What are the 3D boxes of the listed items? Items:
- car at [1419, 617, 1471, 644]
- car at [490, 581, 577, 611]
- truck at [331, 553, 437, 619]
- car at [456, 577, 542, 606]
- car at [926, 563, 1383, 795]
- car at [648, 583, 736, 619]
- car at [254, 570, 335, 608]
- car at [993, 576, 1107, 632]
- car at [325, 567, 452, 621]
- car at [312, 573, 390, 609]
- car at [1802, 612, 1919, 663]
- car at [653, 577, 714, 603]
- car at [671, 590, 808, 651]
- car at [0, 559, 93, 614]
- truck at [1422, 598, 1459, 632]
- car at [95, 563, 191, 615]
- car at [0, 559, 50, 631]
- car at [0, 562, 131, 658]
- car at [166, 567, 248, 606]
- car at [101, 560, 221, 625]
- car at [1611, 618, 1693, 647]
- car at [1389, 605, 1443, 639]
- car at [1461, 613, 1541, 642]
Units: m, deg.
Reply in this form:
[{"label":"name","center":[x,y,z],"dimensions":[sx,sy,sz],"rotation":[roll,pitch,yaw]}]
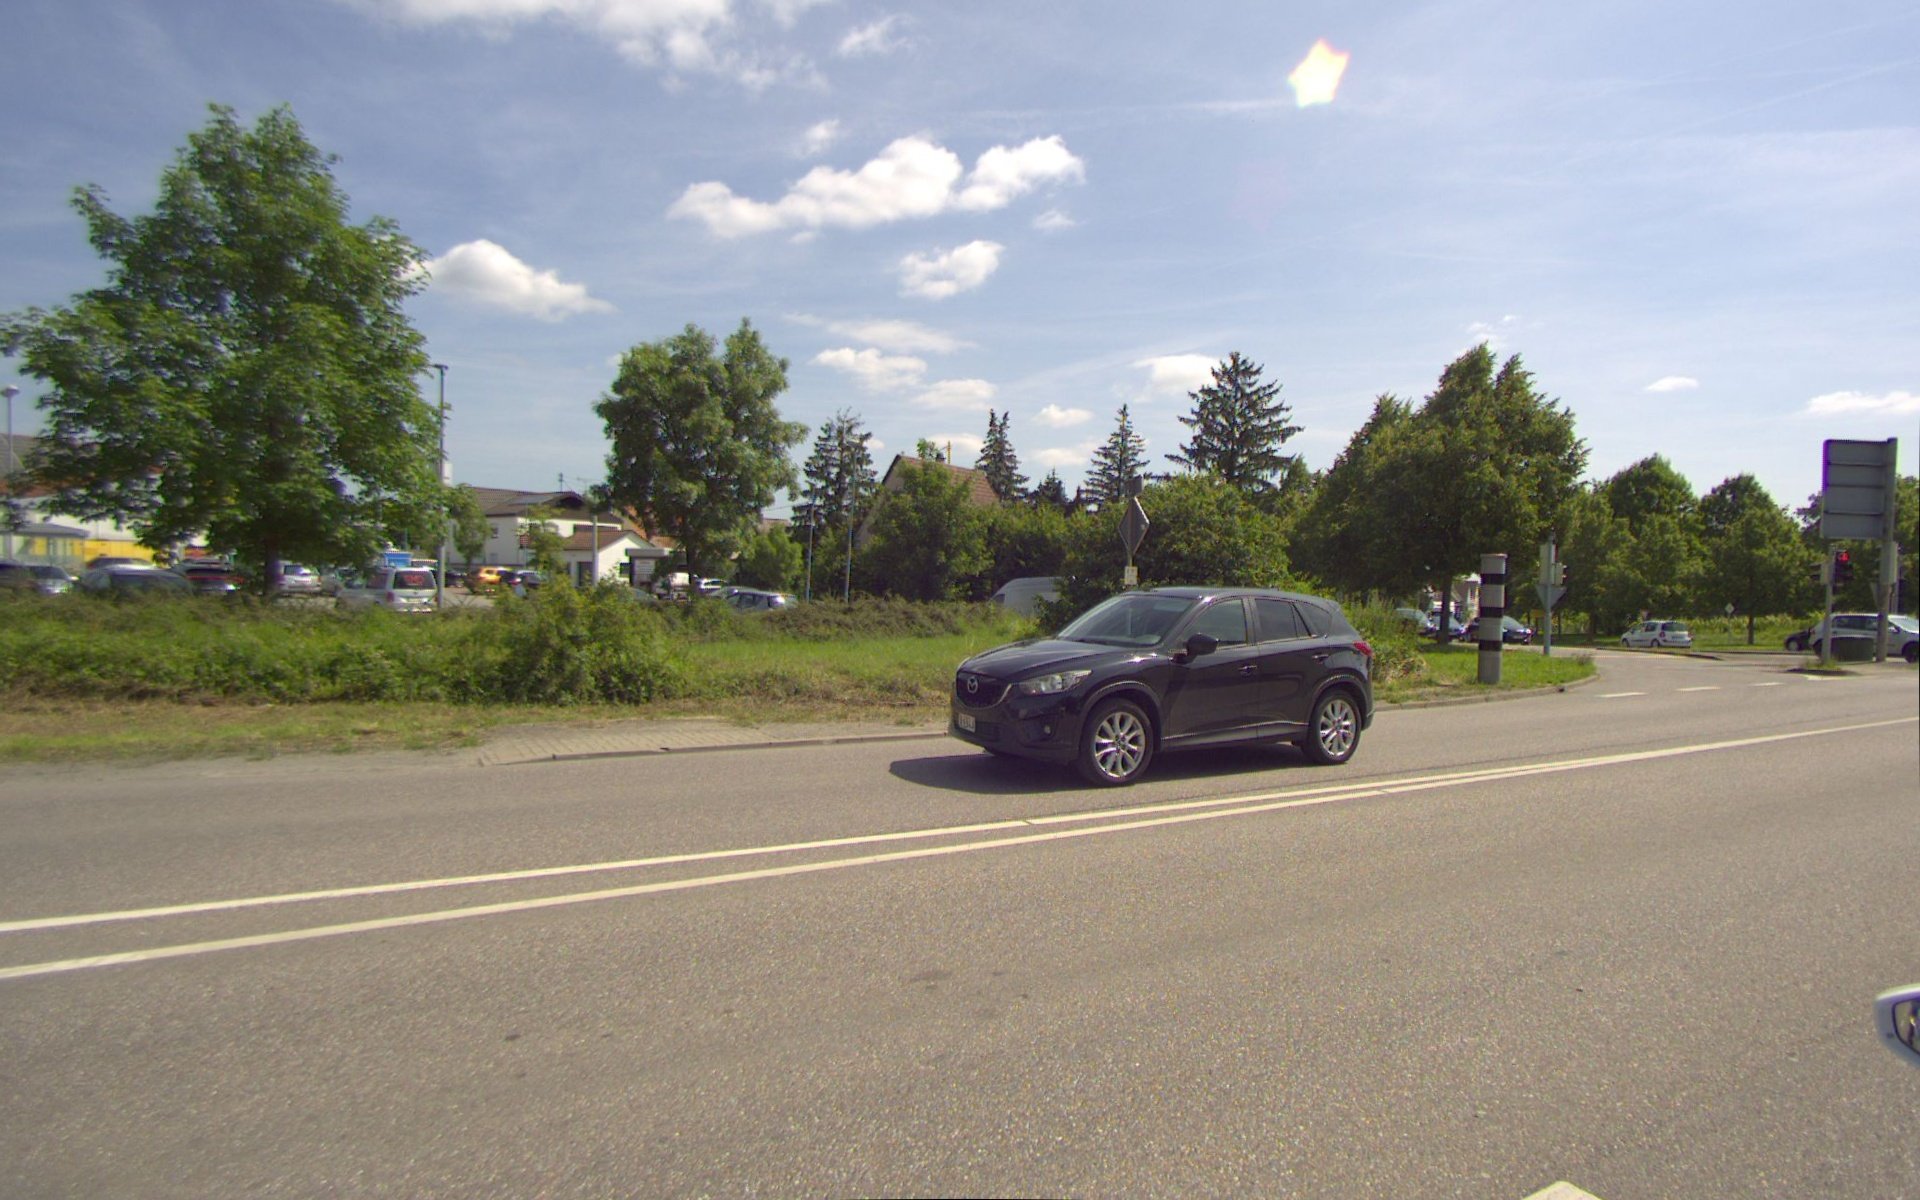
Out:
[{"label":"car","center":[28.527,1.784,59.238],"dimensions":[1.706,1.448,4.283],"rotation":[1,0,11]},{"label":"car","center":[-24.550,-0.200,57.969],"dimensions":[1.849,1.562,4.243],"rotation":[2,0,37]},{"label":"truck","center":[-22.338,-0.536,38.916],"dimensions":[3.932,2.397,1.994],"rotation":[2,0,34]},{"label":"car","center":[-27.129,-0.488,59.224],"dimensions":[1.849,1.562,4.243],"rotation":[2,0,37]},{"label":"car","center":[1.902,0.639,9.529],"dimensions":[4.063,1.773,1.857],"rotation":[1,0,-31]},{"label":"car","center":[-13.583,0.059,51.018],"dimensions":[1.883,1.662,3.984],"rotation":[2,0,38]},{"label":"car","center":[-30.287,-0.509,45.675],"dimensions":[4.193,1.562,1.871],"rotation":[2,0,40]},{"label":"car","center":[3.895,0.145,43.735],"dimensions":[4.524,2.209,1.992],"rotation":[2,1,37]},{"label":"car","center":[-19.314,-0.217,33.887],"dimensions":[4.353,1.717,1.994],"rotation":[1,0,34]},{"label":"car","center":[-29.009,-0.431,47.818],"dimensions":[4.193,1.562,1.871],"rotation":[2,0,40]},{"label":"car","center":[28.886,1.119,31.138],"dimensions":[1.764,1.436,4.037],"rotation":[0,1,-13]},{"label":"car","center":[-20.177,-0.726,73.411],"dimensions":[1.866,1.782,3.988],"rotation":[2,0,35]},{"label":"car","center":[-7.078,0.635,32.196],"dimensions":[3.928,1.751,1.997],"rotation":[2,0,29]},{"label":"car","center":[-28.223,-0.426,30.740],"dimensions":[3.936,1.549,1.772],"rotation":[2,0,37]},{"label":"truck","center":[57.992,1.837,121.139],"dimensions":[2.896,3.848,7.906],"rotation":[2,0,33]},{"label":"car","center":[-26.508,-0.354,32.554],"dimensions":[3.941,1.549,1.770],"rotation":[2,0,41]},{"label":"car","center":[-24.801,-0.179,25.557],"dimensions":[3.939,1.697,1.903],"rotation":[3,1,40]},{"label":"car","center":[-17.553,0.159,19.457],"dimensions":[3.941,1.679,1.686],"rotation":[2,0,42]},{"label":"car","center":[-32.398,-0.583,43.164],"dimensions":[4.193,1.562,1.871],"rotation":[2,0,40]},{"label":"car","center":[-22.845,-0.212,28.678],"dimensions":[3.939,1.711,1.918],"rotation":[2,0,40]},{"label":"car","center":[36.874,1.698,53.665],"dimensions":[1.643,1.375,3.859],"rotation":[1,1,-1]},{"label":"car","center":[23.619,1.115,52.168],"dimensions":[1.773,1.619,4.271],"rotation":[1,0,13]},{"label":"car","center":[26.744,1.335,49.828],"dimensions":[1.707,1.322,4.282],"rotation":[-1,0,2]}]
